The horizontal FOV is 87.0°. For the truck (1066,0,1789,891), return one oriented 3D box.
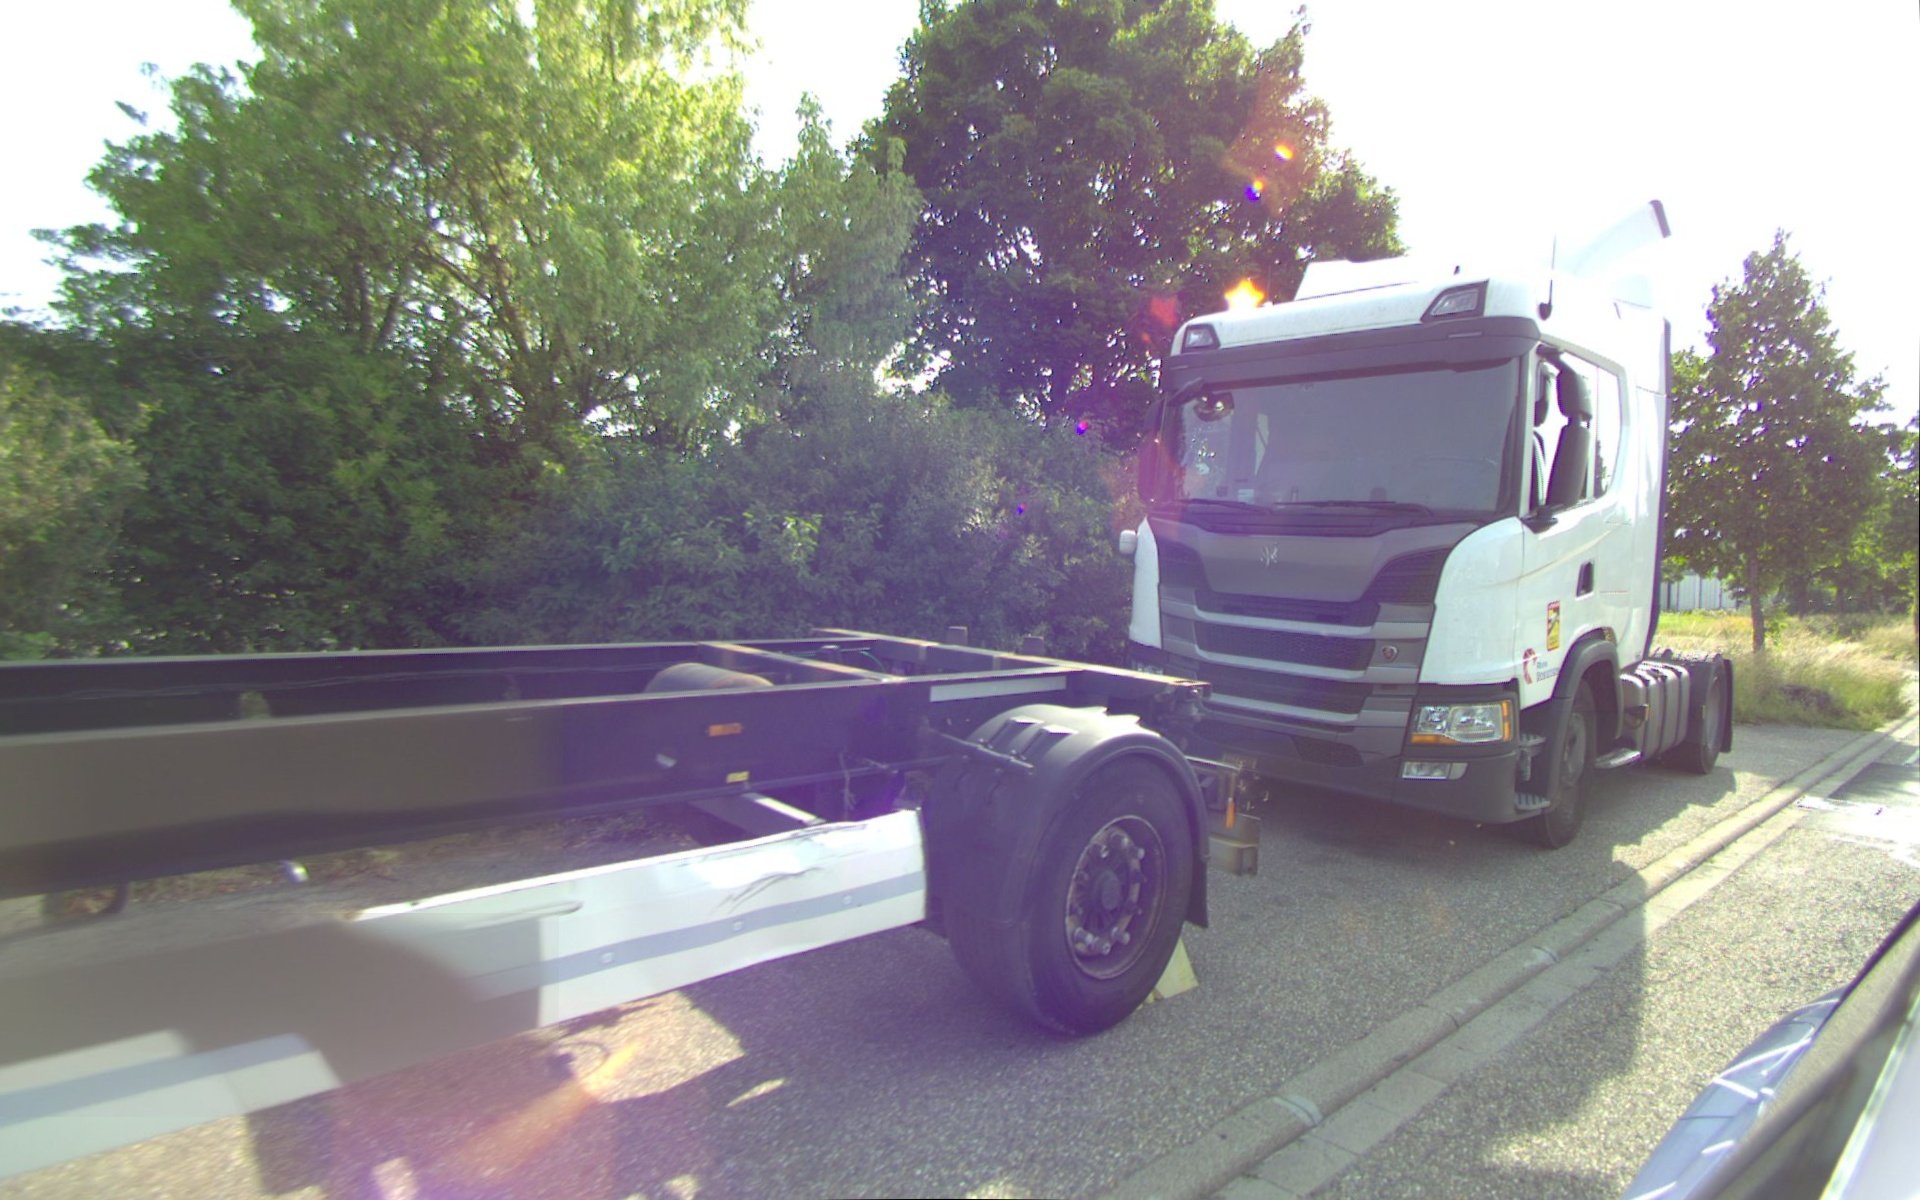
[{"bbox_3d":[3.844,-0.782,7.566,5.947,4.012,2.696,0,4,-43],"label":"truck"}]

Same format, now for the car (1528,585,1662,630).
[{"bbox_3d":[26.513,0.288,42.367,4.284,1.581,1.757,2,4,7],"label":"car"}]

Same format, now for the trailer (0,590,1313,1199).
[{"bbox_3d":[-2.030,0.658,2.056,7.324,1.251,1.942,0,3,-43],"label":"trailer"}]
